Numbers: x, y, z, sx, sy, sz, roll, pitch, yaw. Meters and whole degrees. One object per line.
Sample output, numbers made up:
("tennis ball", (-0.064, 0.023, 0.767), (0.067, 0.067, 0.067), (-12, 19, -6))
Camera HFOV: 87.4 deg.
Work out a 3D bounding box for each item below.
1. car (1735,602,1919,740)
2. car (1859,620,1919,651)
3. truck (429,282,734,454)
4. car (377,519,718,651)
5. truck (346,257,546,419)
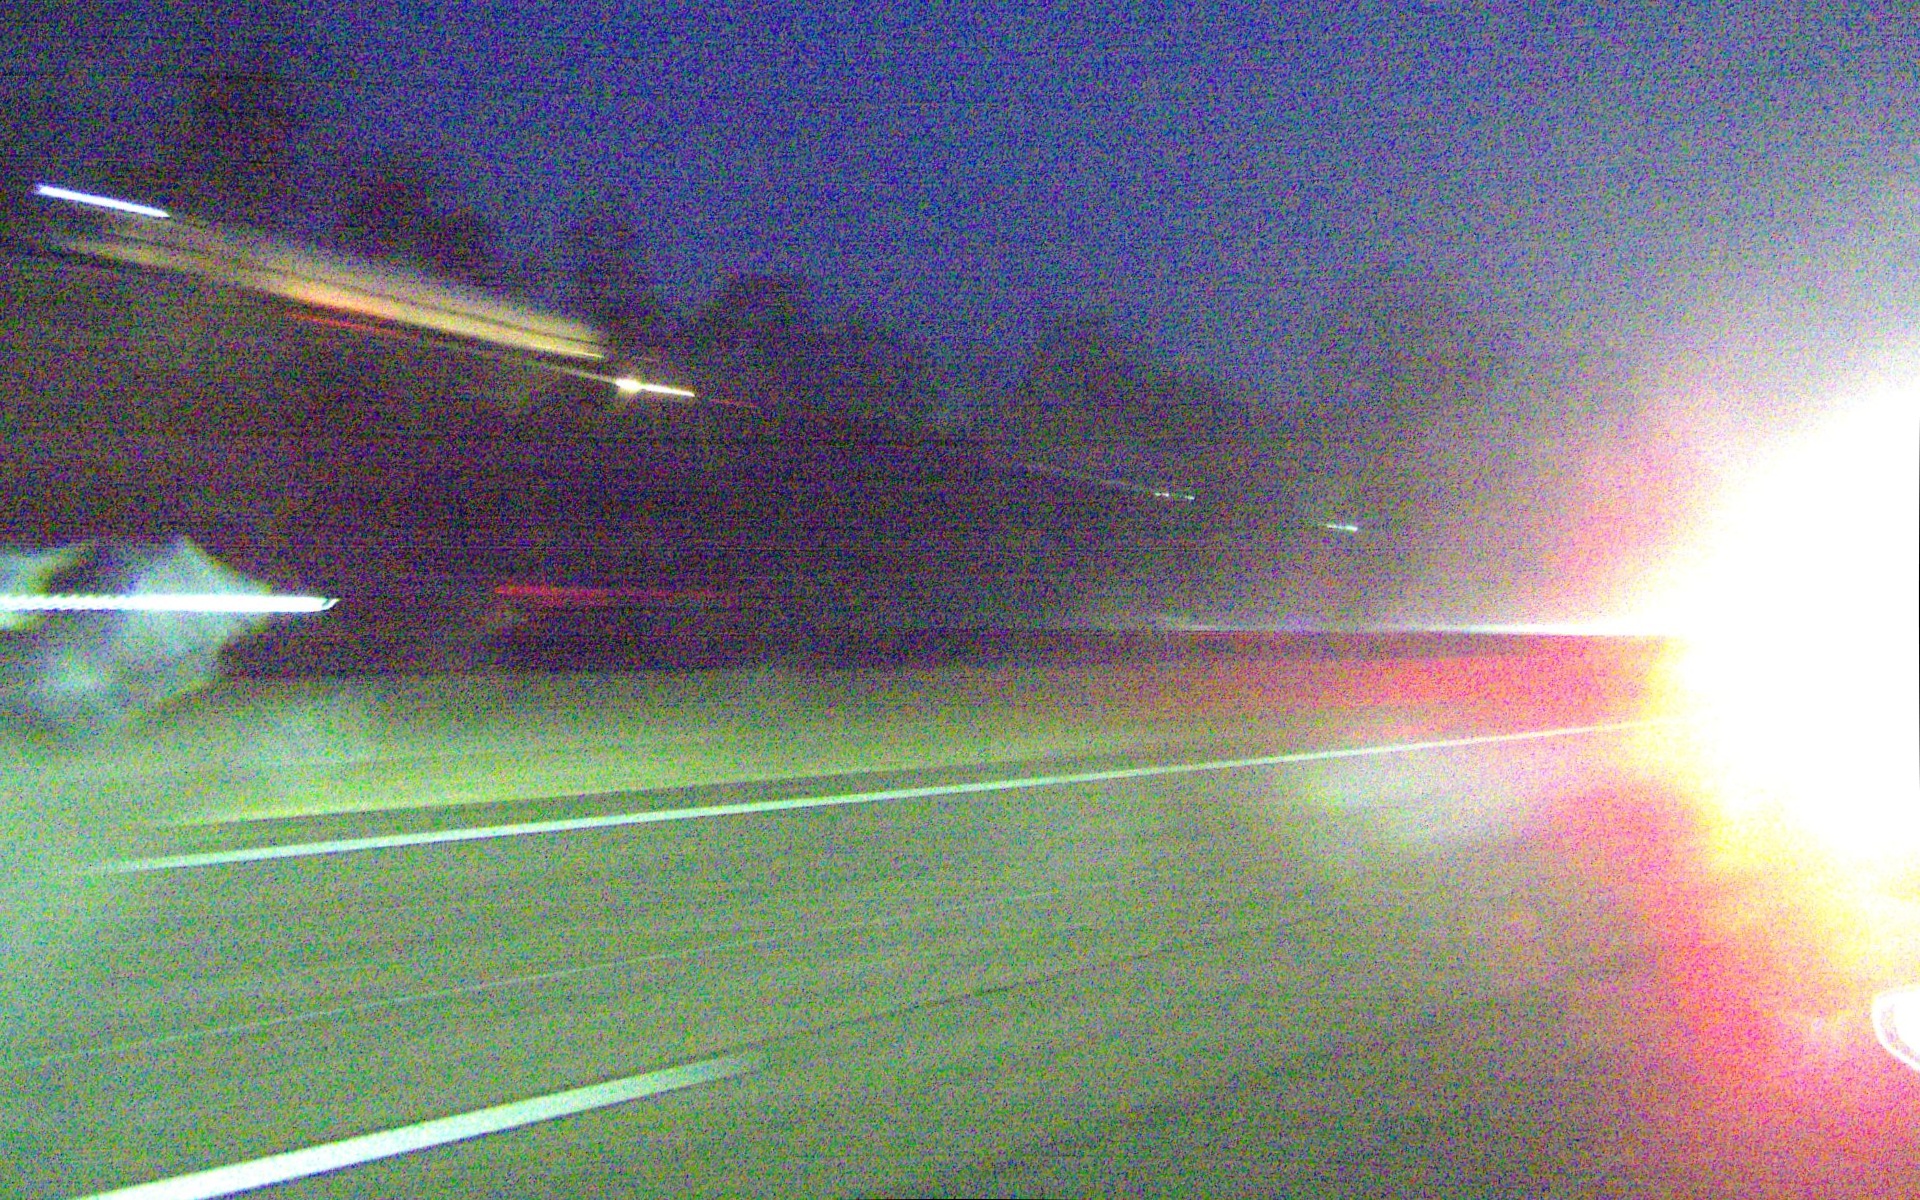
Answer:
("car", (13.154, 0.933, 14.287), (4.700, 1.561, 1.847), (2, 3, -33))
("car", (53.159, 1.990, 57.231), (4.654, 1.654, 1.761), (1, 0, -34))
("truck", (-13.837, -8.385, 38.224), (2.379, 3.830, 11.190), (2, -1, 37))
("car", (-5.410, -0.131, 13.286), (3.954, 1.512, 1.733), (2, 0, -31))
("truck", (-17.153, -8.591, 33.802), (2.379, 3.830, 5.409), (2, -1, 37))
